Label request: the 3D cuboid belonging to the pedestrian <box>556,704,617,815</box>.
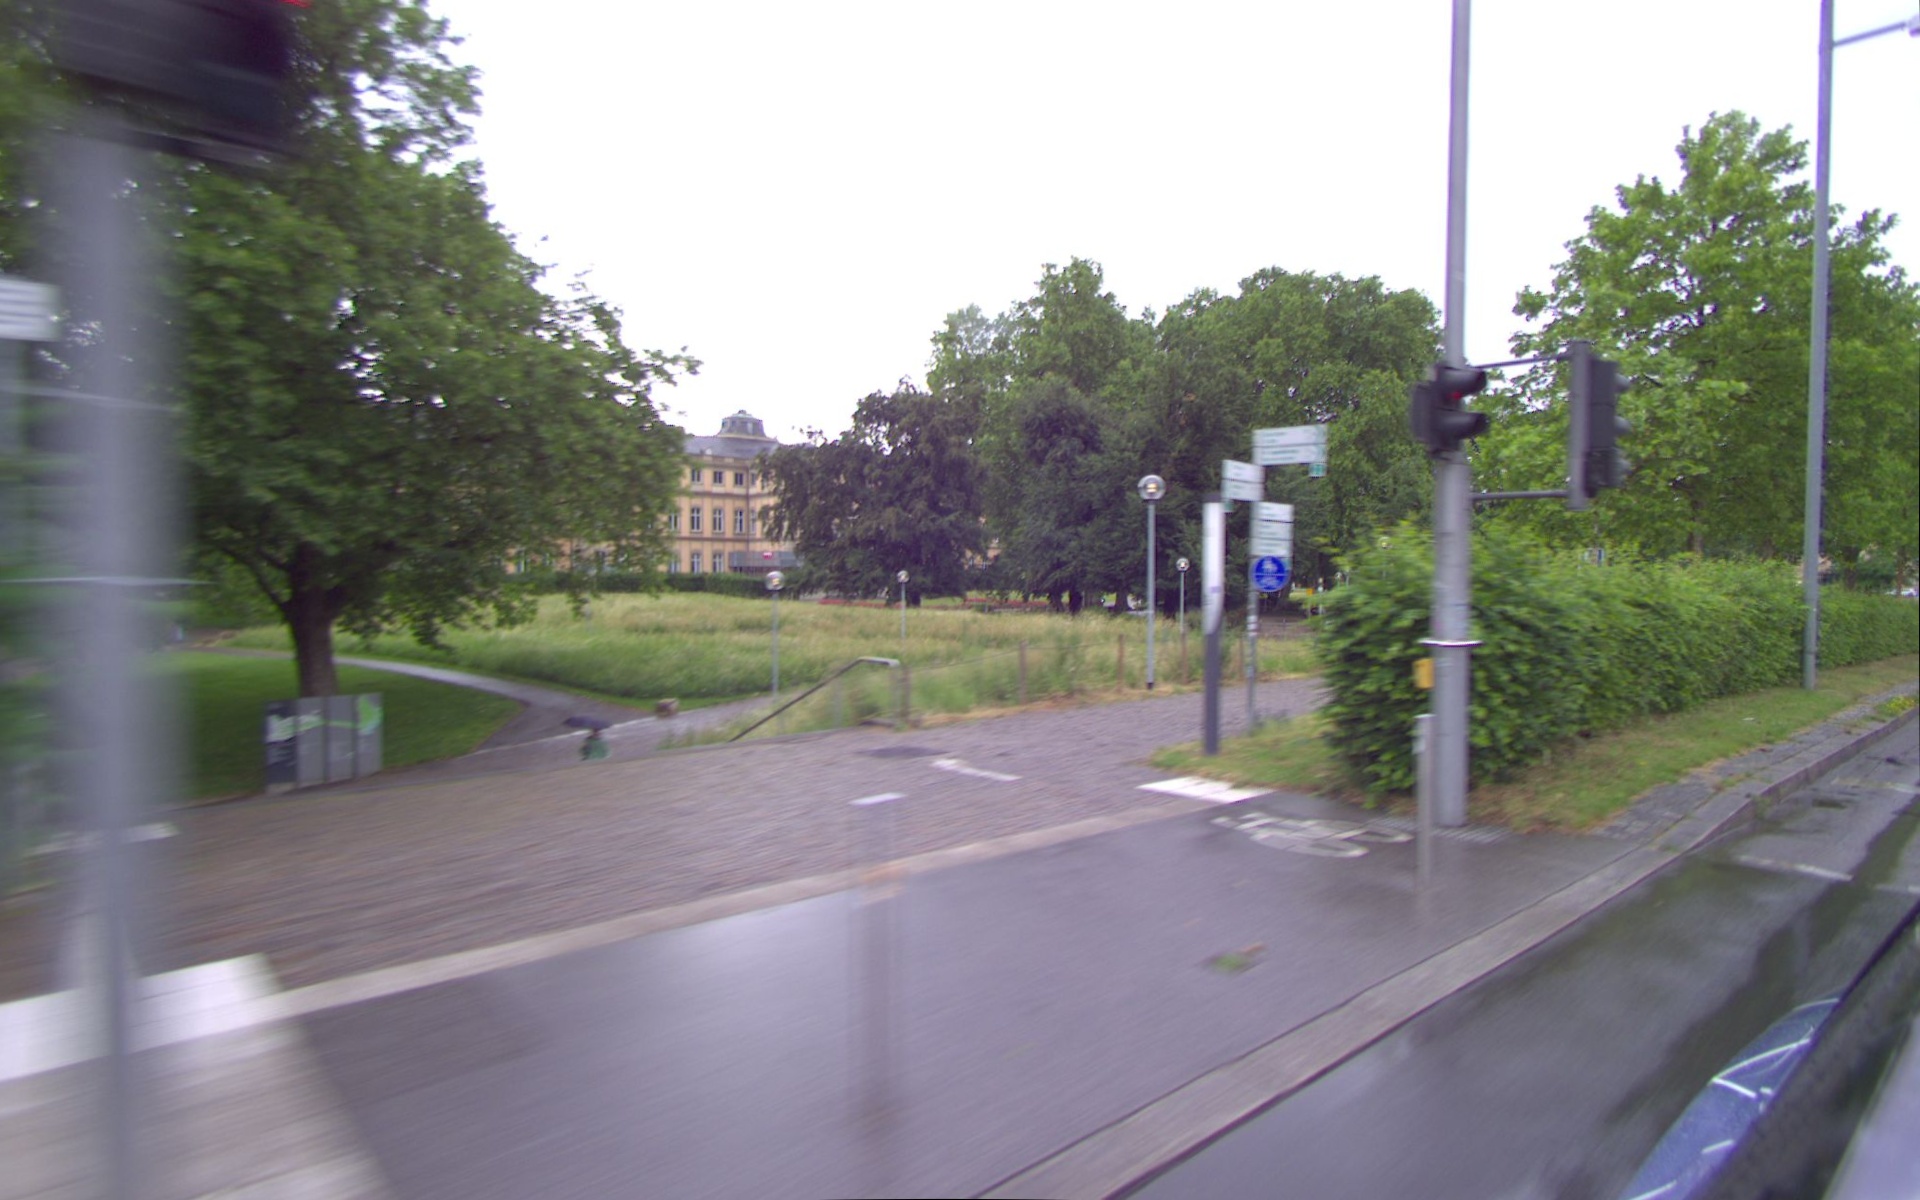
[{"bbox_3d":[-7.047,2.983,19.136,1.006,1.874,0.950,-2,1,-19],"label":"pedestrian"}]
